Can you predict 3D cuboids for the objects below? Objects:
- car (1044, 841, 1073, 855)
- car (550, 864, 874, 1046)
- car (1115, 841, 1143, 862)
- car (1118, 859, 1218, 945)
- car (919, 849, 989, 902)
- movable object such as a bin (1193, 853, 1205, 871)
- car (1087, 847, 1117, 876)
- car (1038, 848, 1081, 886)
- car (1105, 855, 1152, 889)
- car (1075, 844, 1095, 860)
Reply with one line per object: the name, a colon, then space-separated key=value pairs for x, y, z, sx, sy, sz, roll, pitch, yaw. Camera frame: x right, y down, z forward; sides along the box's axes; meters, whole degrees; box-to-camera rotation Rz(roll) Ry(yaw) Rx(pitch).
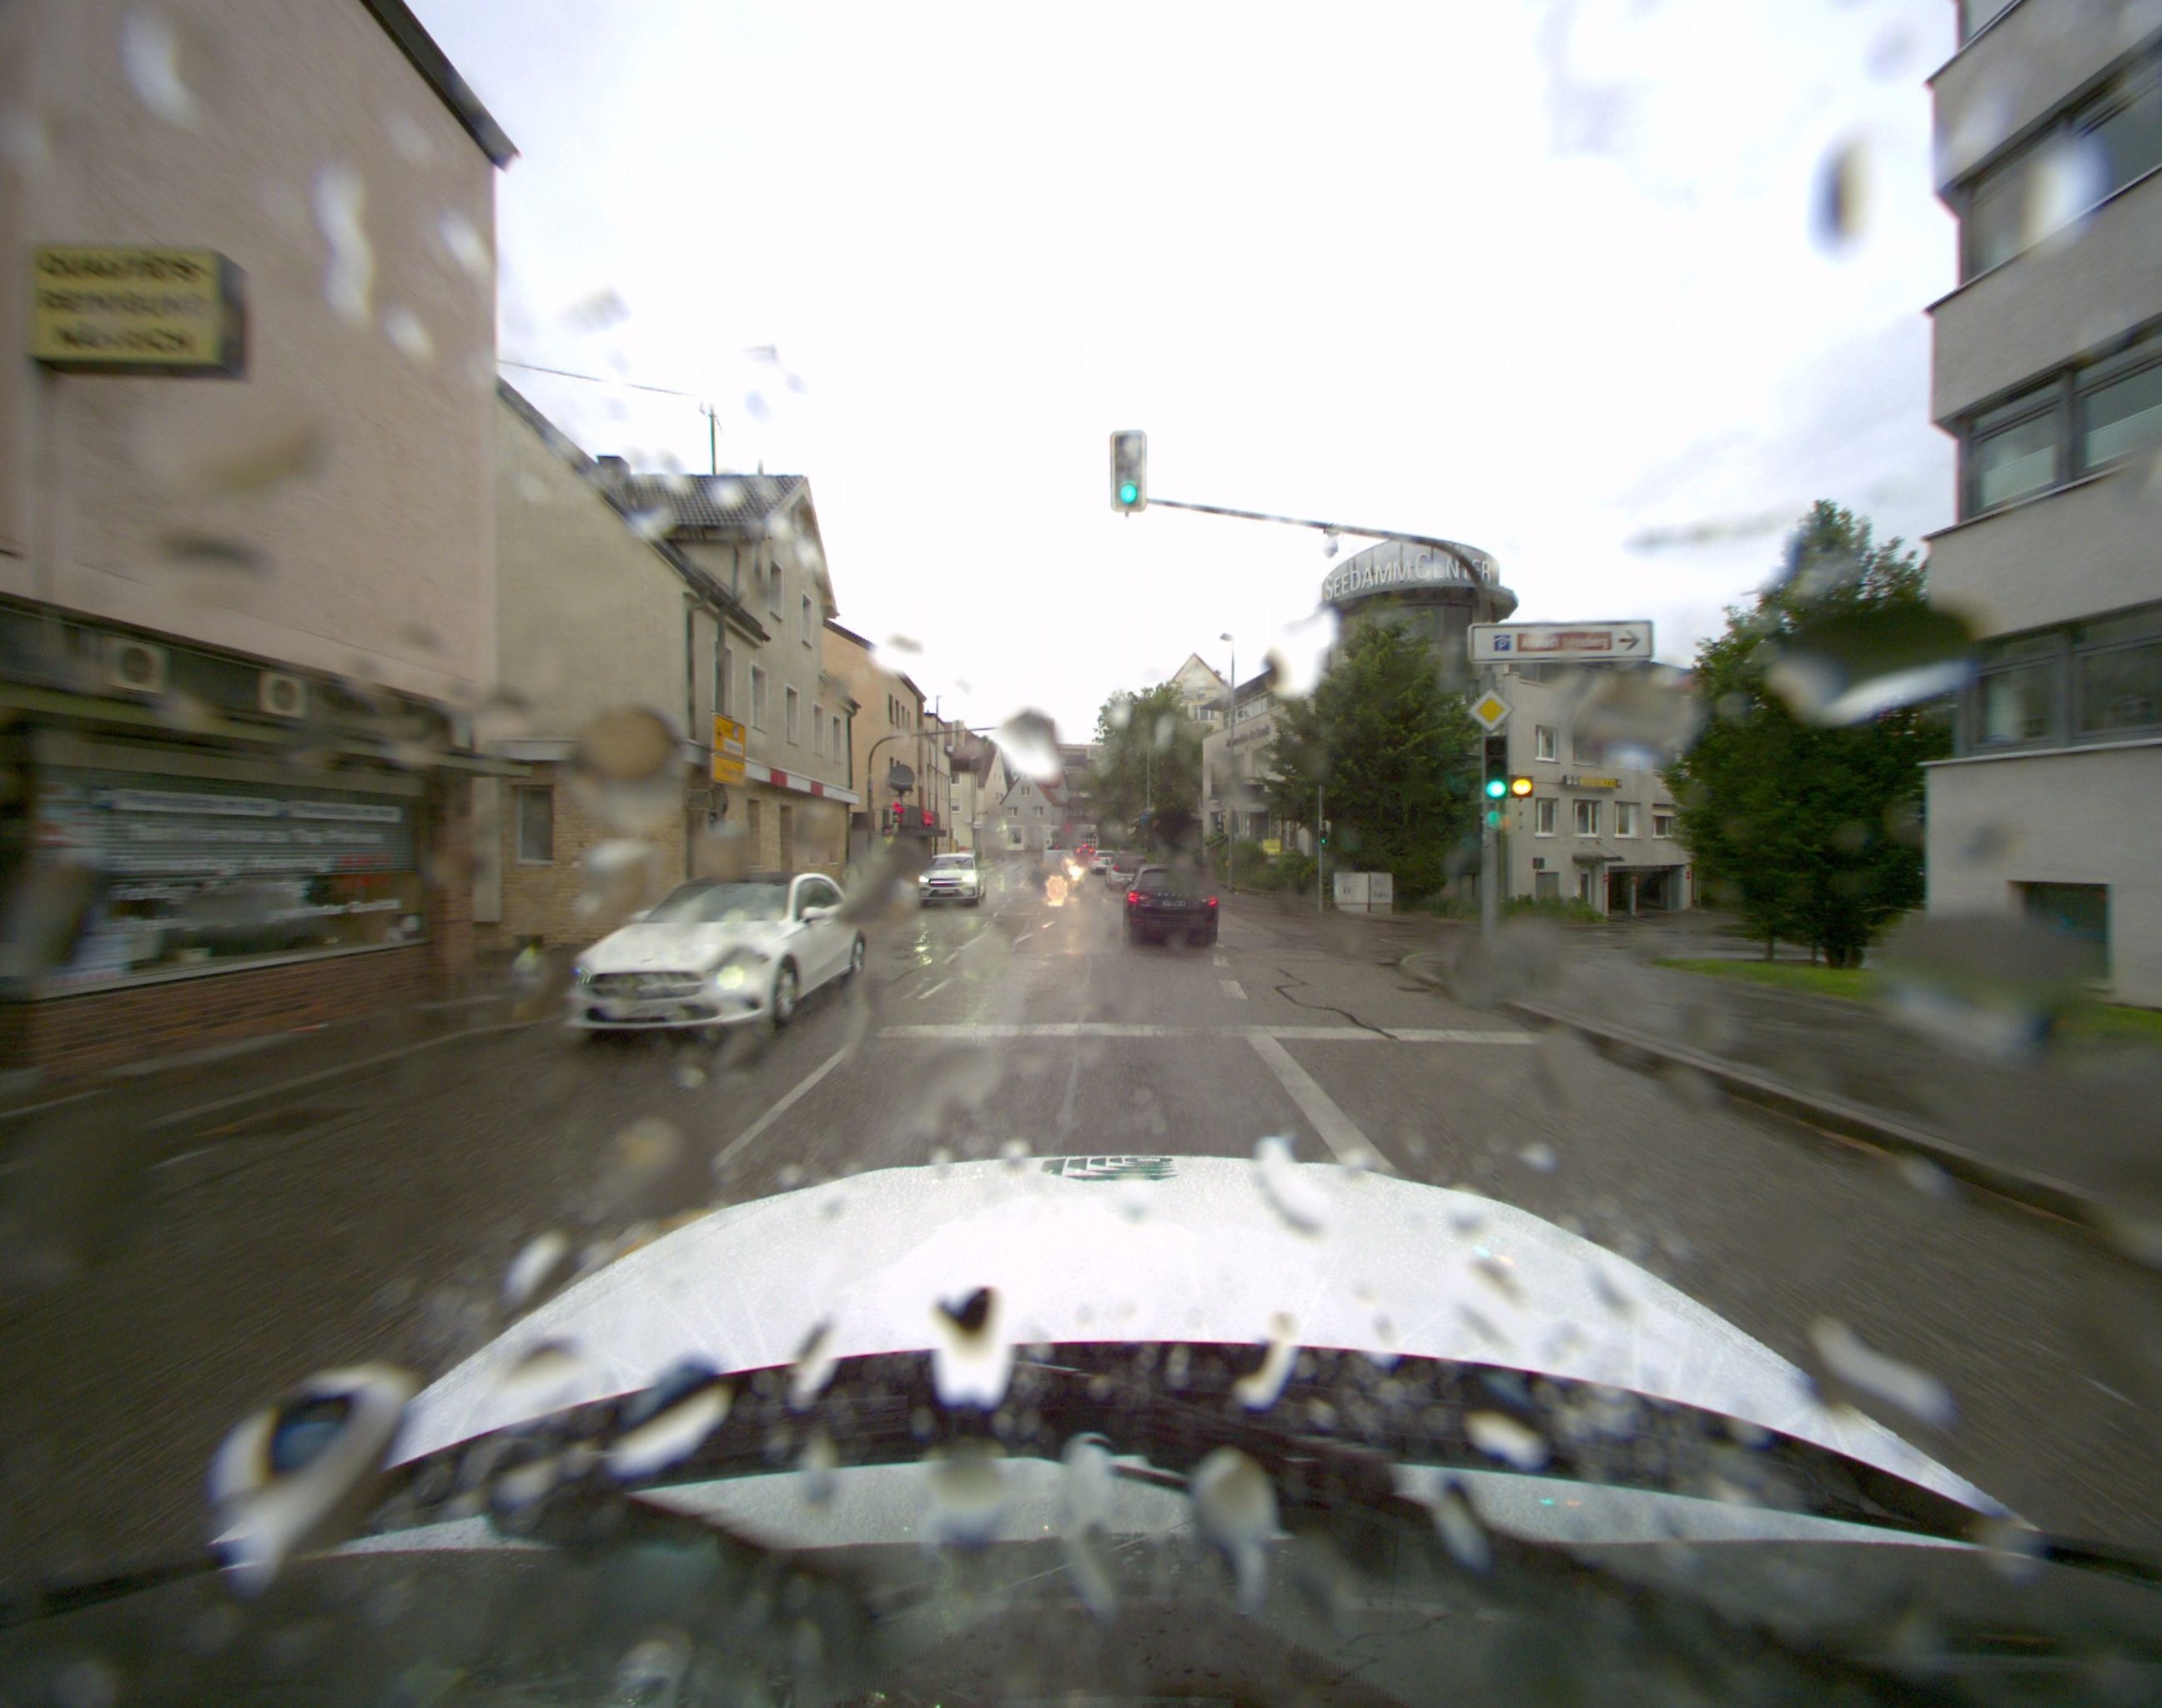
car: x=-2.738 y=-0.701 z=98.612 sx=1.906 sy=1.682 sz=3.651 roll=0 pitch=-1 yaw=-32
car: x=-3.559 y=0.856 z=8.779 sx=1.686 sy=1.373 sz=4.110 roll=-1 pitch=1 yaw=-2
car: x=3.953 y=-0.197 z=67.515 sx=1.849 sy=1.641 sz=3.865 roll=-1 pitch=0 yaw=-5
car: x=1.860 y=0.869 z=16.652 sx=1.772 sy=1.483 sz=4.256 roll=0 pitch=0 yaw=8
car: x=-4.067 y=0.638 z=26.732 sx=1.780 sy=1.560 sz=4.333 roll=-1 pitch=1 yaw=-3
movable object such as a bin: x=6.694 y=0.454 z=46.204 sx=0.507 sy=0.945 sz=0.605 roll=3 pitch=5 yaw=16
car: x=1.264 y=0.504 z=50.731 sx=1.722 sy=1.591 sz=4.182 roll=1 pitch=-3 yaw=0
car: x=-1.006 y=0.534 z=36.290 sx=1.780 sy=1.562 sz=4.398 roll=1 pitch=1 yaw=-3
car: x=1.994 y=0.722 z=35.114 sx=1.812 sy=1.359 sz=3.990 roll=0 pitch=0 yaw=1
car: x=0.361 y=-0.219 z=84.888 sx=1.888 sy=1.590 sz=3.684 roll=-1 pitch=-1 yaw=-3
